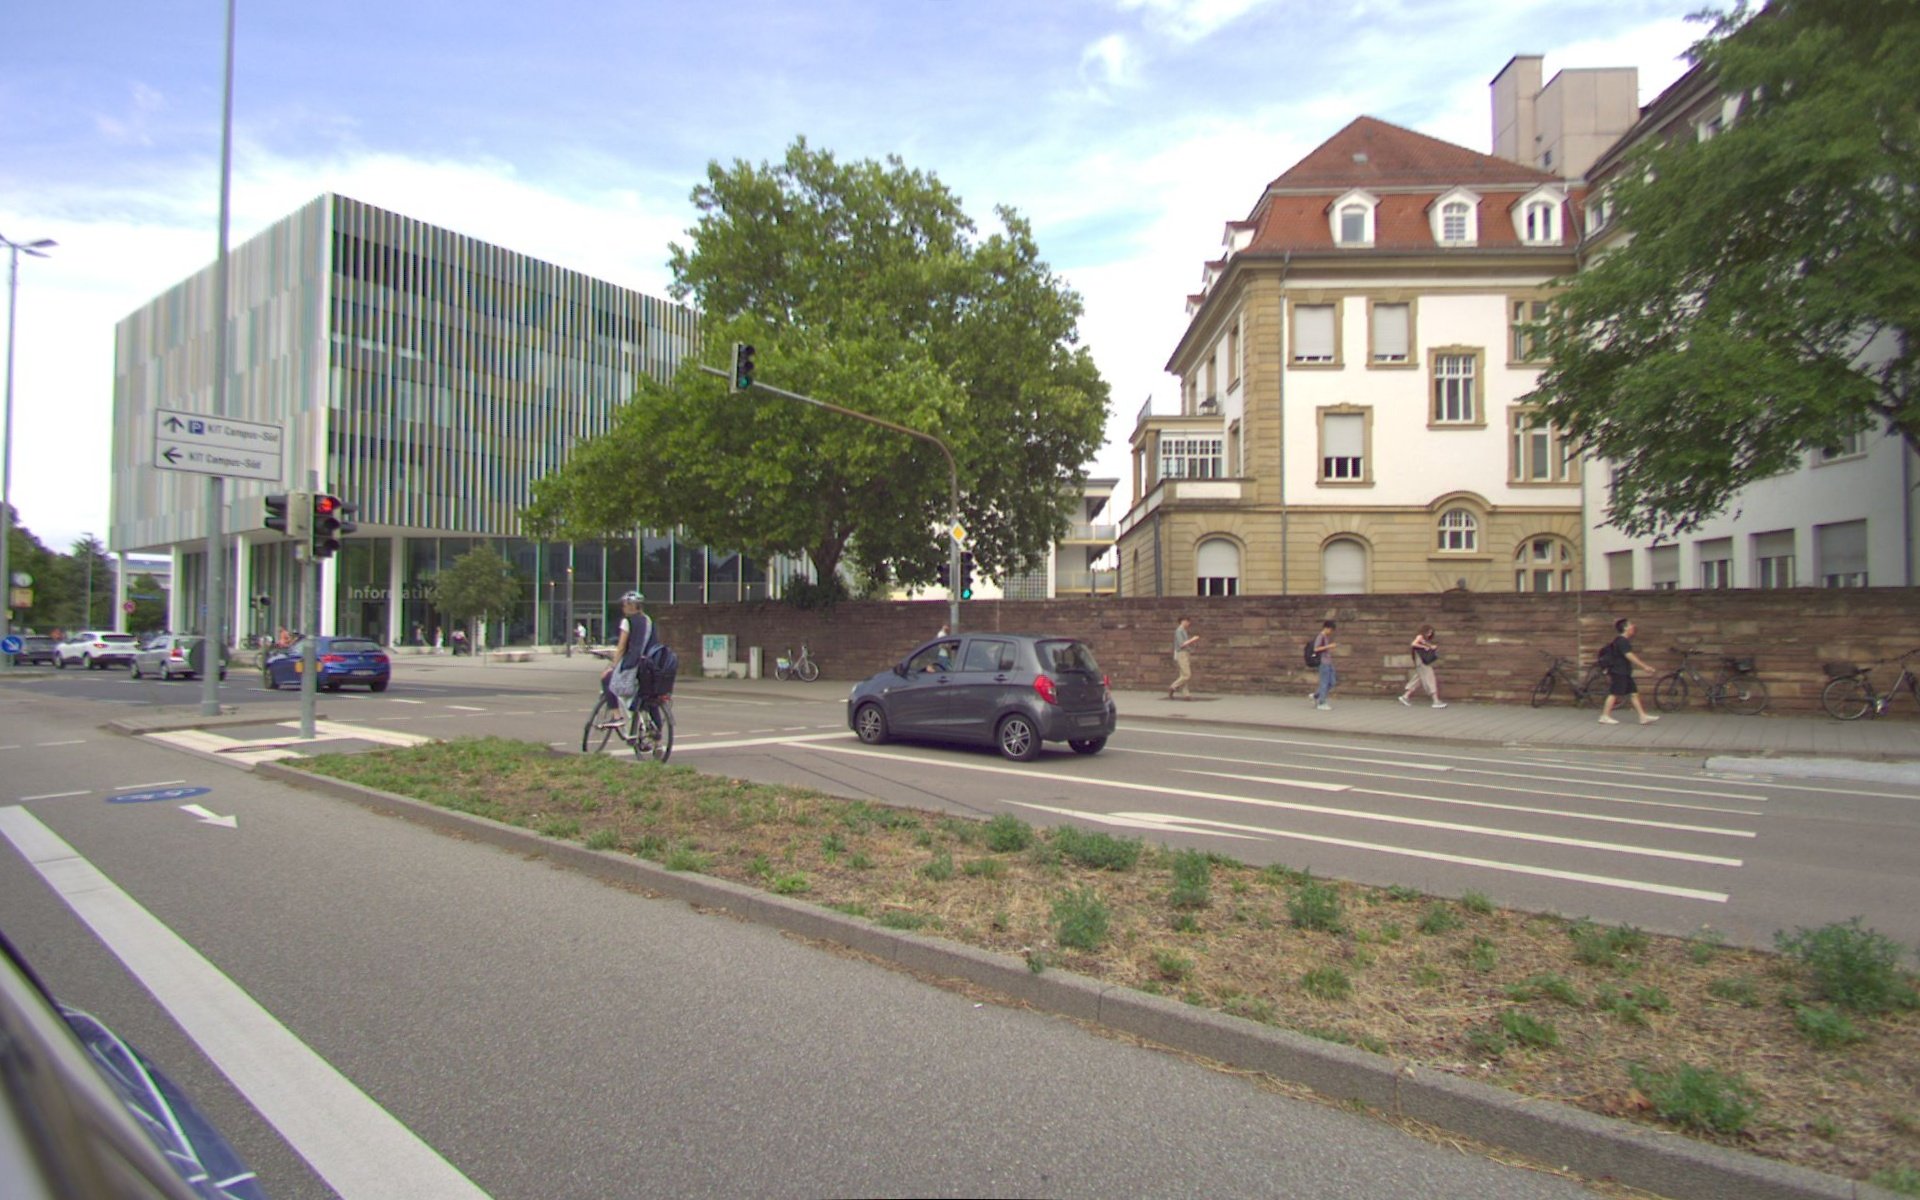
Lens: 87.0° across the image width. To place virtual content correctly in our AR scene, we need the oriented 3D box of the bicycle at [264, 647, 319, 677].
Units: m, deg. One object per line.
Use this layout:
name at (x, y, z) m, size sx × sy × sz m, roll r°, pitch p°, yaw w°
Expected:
bicycle at (-27.506, 2.523, 41.688) m, size 0.603 × 1.179 × 1.881 m, roll -1°, pitch -2°, yaw 22°

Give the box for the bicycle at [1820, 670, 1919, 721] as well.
bicycle at (15.502, 1.582, 16.932) m, size 1.615 × 0.803 × 0.437 m, roll -3°, pitch -1°, yaw 31°

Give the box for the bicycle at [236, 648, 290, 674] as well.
bicycle at (-30.057, 2.621, 43.679) m, size 0.724 × 0.996 × 1.808 m, roll -1°, pitch -1°, yaw 23°

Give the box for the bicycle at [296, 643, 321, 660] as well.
bicycle at (-40.186, 3.188, 62.417) m, size 0.389 × 0.944 × 1.609 m, roll -1°, pitch 0°, yaw 4°

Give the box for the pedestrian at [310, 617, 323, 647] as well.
pedestrian at (-45.184, 2.232, 71.057) m, size 0.623 × 2.059 × 0.506 m, roll -3°, pitch -3°, yaw 36°

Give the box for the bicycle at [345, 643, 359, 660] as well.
bicycle at (-37.238, 3.136, 61.995) m, size 0.387 × 0.944 × 1.603 m, roll -1°, pitch 0°, yaw -19°

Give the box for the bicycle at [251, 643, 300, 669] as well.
bicycle at (-28.727, 2.351, 42.480) m, size 0.568 × 0.996 × 1.679 m, roll -1°, pitch -1°, yaw 23°

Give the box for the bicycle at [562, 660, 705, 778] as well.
bicycle at (-3.382, 1.167, 10.393) m, size 1.927 × 1.063 × 0.567 m, roll -2°, pitch -3°, yaw 45°

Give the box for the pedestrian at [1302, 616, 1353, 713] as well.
pedestrian at (7.009, 1.214, 19.348) m, size 0.775 × 1.796 × 0.759 m, roll 1°, pitch -1°, yaw 11°

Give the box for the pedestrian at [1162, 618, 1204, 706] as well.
pedestrian at (4.685, 1.286, 21.291) m, size 0.775 × 1.796 × 0.745 m, roll 1°, pitch -1°, yaw 8°

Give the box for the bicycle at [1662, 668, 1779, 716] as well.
bicycle at (13.585, 1.628, 18.125) m, size 1.615 × 0.803 × 0.437 m, roll -3°, pitch -1°, yaw 31°

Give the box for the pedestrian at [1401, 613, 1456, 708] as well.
pedestrian at (9.184, 1.169, 19.842) m, size 0.775 × 1.796 × 0.759 m, roll 1°, pitch -1°, yaw 9°

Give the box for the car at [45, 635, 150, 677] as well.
car at (-36.405, 2.326, 42.721) m, size 4.401 × 1.665 × 1.853 m, roll -1°, pitch -2°, yaw 28°

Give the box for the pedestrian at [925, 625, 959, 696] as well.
pedestrian at (-0.472, 1.549, 26.352) m, size 0.774 × 1.796 × 0.745 m, roll 1°, pitch -1°, yaw 6°

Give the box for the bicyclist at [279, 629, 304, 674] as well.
bicyclist at (-27.489, 2.106, 41.617) m, size 0.558 × 1.820 × 0.597 m, roll -1°, pitch -2°, yaw 24°

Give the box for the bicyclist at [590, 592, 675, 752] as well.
bicyclist at (-3.400, 0.724, 10.503) m, size 0.699 × 1.586 × 0.565 m, roll -2°, pitch -3°, yaw 45°

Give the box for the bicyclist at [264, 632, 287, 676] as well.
bicyclist at (-28.731, 2.264, 42.475) m, size 0.558 × 1.820 × 0.597 m, roll -1°, pitch -1°, yaw 24°

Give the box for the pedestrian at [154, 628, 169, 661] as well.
pedestrian at (-44.704, 2.480, 56.653) m, size 0.623 × 1.851 × 0.506 m, roll -3°, pitch -3°, yaw 37°

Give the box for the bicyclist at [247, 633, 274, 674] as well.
bicyclist at (-30.110, 2.294, 43.569) m, size 0.719 × 1.685 × 0.723 m, roll -1°, pitch -1°, yaw 24°

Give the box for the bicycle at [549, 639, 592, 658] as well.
bicycle at (-23.480, 2.911, 61.046) m, size 0.792 × 1.098 × 2.662 m, roll -1°, pitch -2°, yaw 22°

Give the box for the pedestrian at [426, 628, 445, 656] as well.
pedestrian at (-29.944, 2.392, 57.818) m, size 0.670 × 1.612 × 0.729 m, roll 0°, pitch -2°, yaw 7°

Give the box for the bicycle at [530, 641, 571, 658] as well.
bicycle at (-24.877, 2.977, 61.507) m, size 0.669 × 1.007 × 2.663 m, roll -1°, pitch -2°, yaw 22°

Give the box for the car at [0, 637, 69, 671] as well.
car at (-45.552, 2.604, 49.487) m, size 4.732 × 1.628 × 1.881 m, roll -1°, pitch -3°, yaw 35°

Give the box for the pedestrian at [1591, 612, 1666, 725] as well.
pedestrian at (10.960, 1.101, 16.618) m, size 0.776 × 1.796 × 0.758 m, roll 1°, pitch -1°, yaw 12°

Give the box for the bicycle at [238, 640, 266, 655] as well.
bicycle at (-48.624, 3.283, 69.508) m, size 0.388 × 0.944 × 1.529 m, roll -1°, pitch -1°, yaw 32°

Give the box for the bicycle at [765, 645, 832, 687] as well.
bicycle at (-4.724, 1.901, 29.526) m, size 2.161 × 1.134 × 0.572 m, roll -2°, pitch 0°, yaw 36°

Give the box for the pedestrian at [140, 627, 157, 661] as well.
pedestrian at (-45.099, 2.442, 56.246) m, size 0.771 × 1.851 × 0.506 m, roll -3°, pitch -3°, yaw 37°

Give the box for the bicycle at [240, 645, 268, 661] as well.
bicycle at (-47.786, 3.579, 68.483) m, size 0.398 × 1.002 × 1.529 m, roll -1°, pitch -1°, yaw 33°

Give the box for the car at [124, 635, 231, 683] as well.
car at (-25.873, 1.896, 33.430) m, size 4.282 × 1.500 × 1.784 m, roll -2°, pitch -3°, yaw 38°

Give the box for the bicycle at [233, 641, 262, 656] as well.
bicycle at (-48.390, 3.278, 68.735) m, size 0.393 × 0.944 × 1.529 m, roll -1°, pitch -1°, yaw 32°

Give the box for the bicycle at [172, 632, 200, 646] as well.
bicycle at (-58.999, 2.999, 77.158) m, size 0.388 × 1.031 × 1.565 m, roll -1°, pitch -4°, yaw 32°

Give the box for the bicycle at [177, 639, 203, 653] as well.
bicycle at (-58.394, 3.476, 76.745) m, size 0.388 × 1.031 × 1.565 m, roll -1°, pitch -1°, yaw 32°

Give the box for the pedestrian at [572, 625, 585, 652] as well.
pedestrian at (-25.396, 2.571, 67.351) m, size 0.626 × 1.792 × 0.597 m, roll 0°, pitch -2°, yaw -7°

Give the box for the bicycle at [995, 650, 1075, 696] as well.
bicycle at (1.857, 1.817, 25.350) m, size 1.975 × 1.066 × 0.544 m, roll -2°, pitch 0°, yaw 34°

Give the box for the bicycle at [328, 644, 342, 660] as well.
bicycle at (-38.178, 3.165, 61.810) m, size 0.387 × 0.944 × 1.603 m, roll -1°, pitch 0°, yaw -19°

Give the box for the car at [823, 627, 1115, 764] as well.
car at (0.027, 1.137, 13.004) m, size 3.635 × 1.500 × 1.555 m, roll -2°, pitch -4°, yaw 42°

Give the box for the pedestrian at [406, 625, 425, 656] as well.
pedestrian at (-30.933, 2.323, 57.502) m, size 0.670 × 1.753 × 0.729 m, roll 0°, pitch -2°, yaw 4°

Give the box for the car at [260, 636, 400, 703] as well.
car at (-16.363, 1.732, 26.222) m, size 4.098 × 1.523 × 1.784 m, roll -1°, pitch -2°, yaw 38°

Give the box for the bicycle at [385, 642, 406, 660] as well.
bicycle at (-34.543, 3.110, 61.920) m, size 0.388 × 1.037 × 1.546 m, roll -1°, pitch 0°, yaw 0°
